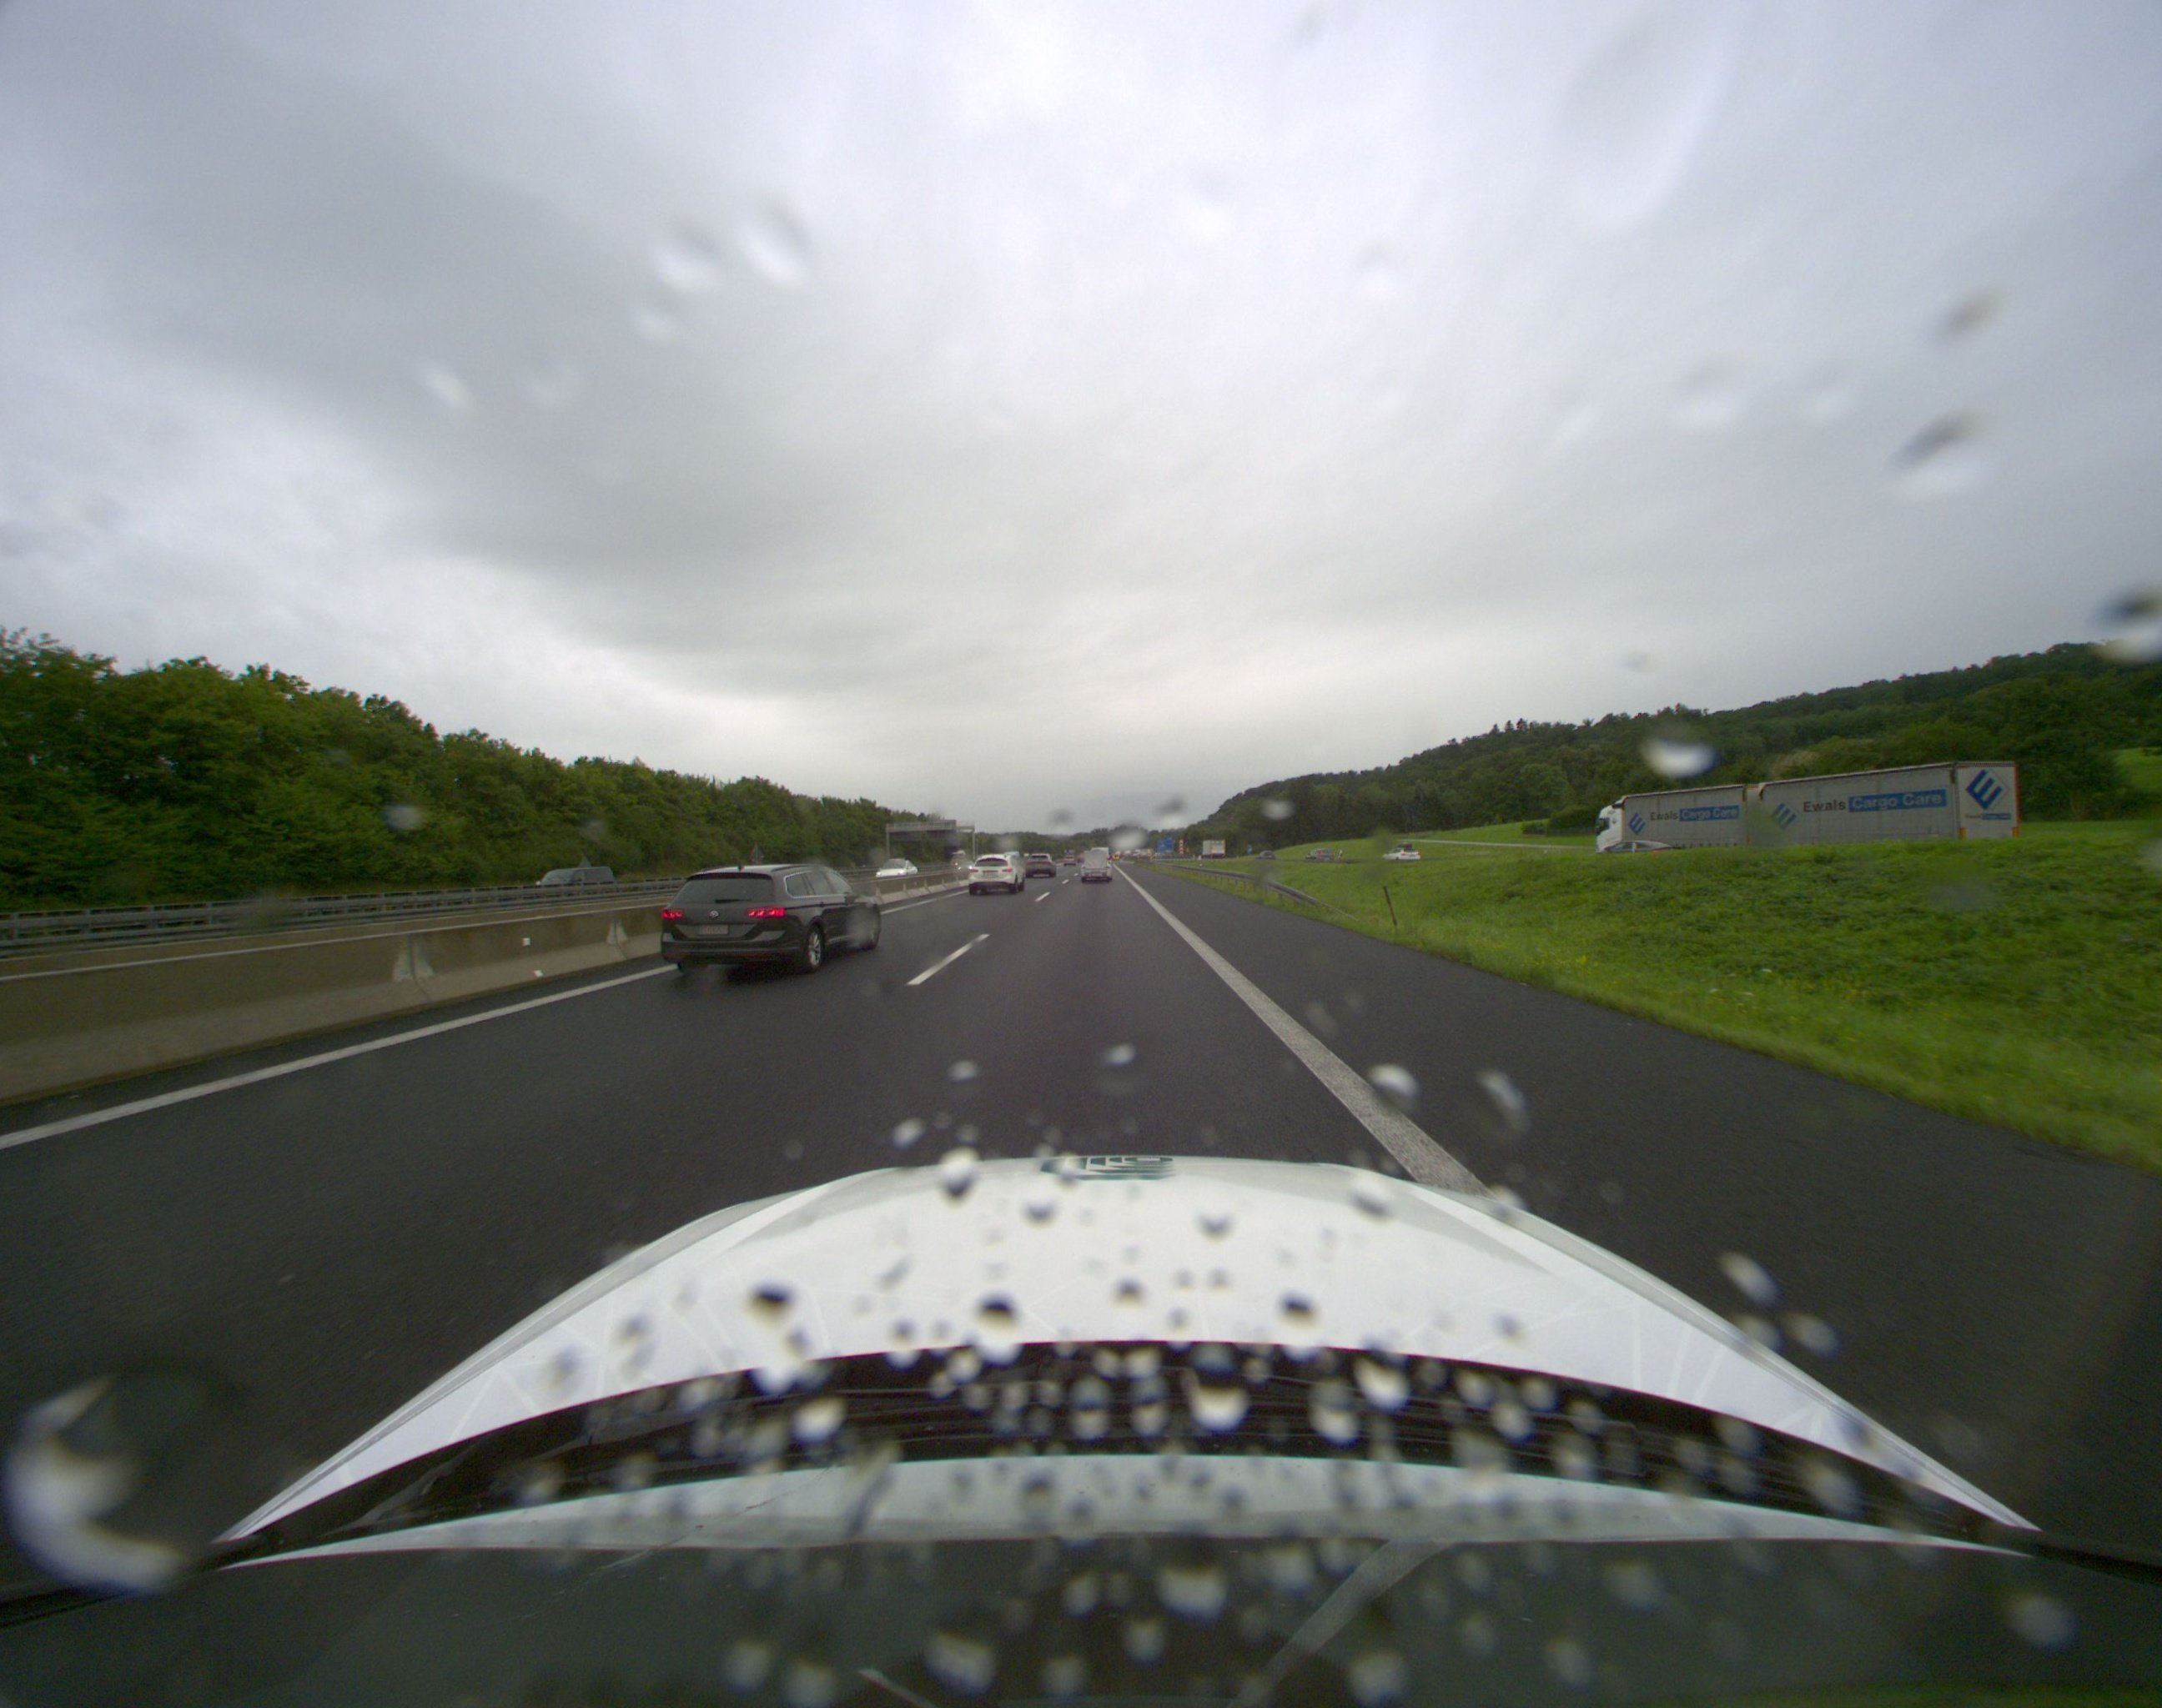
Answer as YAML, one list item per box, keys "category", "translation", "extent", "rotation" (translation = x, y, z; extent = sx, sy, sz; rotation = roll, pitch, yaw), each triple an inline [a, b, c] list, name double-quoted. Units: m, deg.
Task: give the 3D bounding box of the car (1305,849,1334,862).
- category: "car"
  translation: [22.919, 0.163, 78.342]
  extent: [1.536, 1.288, 3.529]
  rotation: [0, -1, -4]

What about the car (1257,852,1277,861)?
- category: "car"
  translation: [25.566, 0.326, 112.014]
  extent: [1.693, 1.288, 3.531]
  rotation: [0, -1, -3]

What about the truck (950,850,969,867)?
- category: "truck"
  translation: [-27.247, 0.916, 183.104]
  extent: [2.676, 3.661, 9.559]
  rotation: [-2, 0, 1]

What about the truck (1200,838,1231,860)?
- category: "truck"
  translation: [23.819, -0.841, 144.470]
  extent: [3.815, 3.659, 8.265]
  rotation: [0, 0, -2]

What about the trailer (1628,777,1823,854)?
- category: "trailer"
  translation: [32.853, -1.766, 42.104]
  extent: [2.933, 3.527, 8.404]
  rotation: [0, 0, -5]

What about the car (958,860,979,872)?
- category: "car"
  translation: [-14.223, 1.524, 103.292]
  extent: [1.986, 1.435, 4.680]
  rotation: [0, 0, 1]

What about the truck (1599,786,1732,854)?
- category: "truck"
  translation: [32.535, -1.795, 45.658]
  extent: [2.933, 3.527, 5.916]
  rotation: [0, 0, -5]

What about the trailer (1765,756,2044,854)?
- category: "trailer"
  translation: [33.586, -1.811, 33.886]
  extent: [3.073, 3.527, 8.070]
  rotation: [0, 0, -5]

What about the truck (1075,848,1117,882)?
- category: "truck"
  translation: [0.870, 0.609, 47.884]
  extent: [2.234, 1.839, 6.585]
  rotation: [-1, 0, 1]

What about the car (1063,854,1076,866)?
- category: "car"
  translation: [-1.739, 0.884, 124.845]
  extent: [1.732, 1.794, 4.001]
  rotation: [-1, 0, 1]

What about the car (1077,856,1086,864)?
- category: "car"
  translation: [0.145, 1.181, 166.034]
  extent: [1.639, 1.574, 4.002]
  rotation: [0, 0, 2]

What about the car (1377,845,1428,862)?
- category: "car"
  translation: [27.856, -0.005, 70.761]
  extent: [1.984, 1.377, 5.067]
  rotation: [-2, 0, -6]

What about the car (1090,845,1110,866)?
- category: "car"
  translation: [2.545, 0.180, 111.957]
  extent: [2.325, 2.725, 6.535]
  rotation: [-1, 0, -1]

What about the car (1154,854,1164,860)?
- category: "car"
  translation: [18.860, 0.771, 197.168]
  extent: [1.988, 1.552, 3.998]
  rotation: [0, 0, -1]

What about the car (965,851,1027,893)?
- category: "car"
  translation: [-3.535, 0.713, 34.659]
  extent: [2.041, 1.670, 4.541]
  rotation: [-1, 0, 1]

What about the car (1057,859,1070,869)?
- category: "car"
  translation: [-2.963, 1.710, 138.969]
  extent: [1.812, 1.662, 4.019]
  rotation: [-2, 0, 2]

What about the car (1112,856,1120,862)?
- category: "car"
  translation: [9.972, 1.379, 232.155]
  extent: [1.989, 1.552, 3.995]
  rotation: [0, 0, -3]

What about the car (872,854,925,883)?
- category: "car"
  translation: [-11.814, 0.923, 52.977]
  extent: [2.148, 1.765, 4.962]
  rotation: [-1, 0, 2]

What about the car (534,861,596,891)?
- category: "car"
  translation: [-37.251, 1.588, 58.889]
  extent: [1.742, 2.013, 4.003]
  rotation: [-2, 0, 2]

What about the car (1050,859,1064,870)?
- category: "car"
  translation: [-3.698, 1.641, 125.714]
  extent: [1.812, 1.662, 4.019]
  rotation: [-2, 0, 2]

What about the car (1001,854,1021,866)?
- category: "car"
  translation: [-10.262, 0.837, 120.082]
  extent: [2.351, 1.693, 5.905]
  rotation: [-2, 0, 0]

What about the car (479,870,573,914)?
- category: "car"
  translation: [-27.967, 1.873, 41.236]
  extent: [1.667, 2.013, 4.280]
  rotation: [-2, 0, 2]

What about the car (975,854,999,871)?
- category: "car"
  translation: [-10.004, 0.879, 87.180]
  extent: [1.987, 1.836, 4.679]
  rotation: [0, 0, 0]

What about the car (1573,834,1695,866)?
- category: "car"
  translation: [26.051, -0.152, 38.635]
  extent: [1.982, 1.377, 5.312]
  rotation: [-1, -1, -3]

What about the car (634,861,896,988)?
- category: "car"
  translation: [-4.337, 0.861, 12.148]
  extent: [1.780, 1.459, 4.806]
  rotation: [-1, 0, 3]

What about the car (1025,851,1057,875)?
- category: "car"
  translation: [-2.883, 0.643, 59.723]
  extent: [1.968, 1.703, 4.803]
  rotation: [-1, 0, 1]
